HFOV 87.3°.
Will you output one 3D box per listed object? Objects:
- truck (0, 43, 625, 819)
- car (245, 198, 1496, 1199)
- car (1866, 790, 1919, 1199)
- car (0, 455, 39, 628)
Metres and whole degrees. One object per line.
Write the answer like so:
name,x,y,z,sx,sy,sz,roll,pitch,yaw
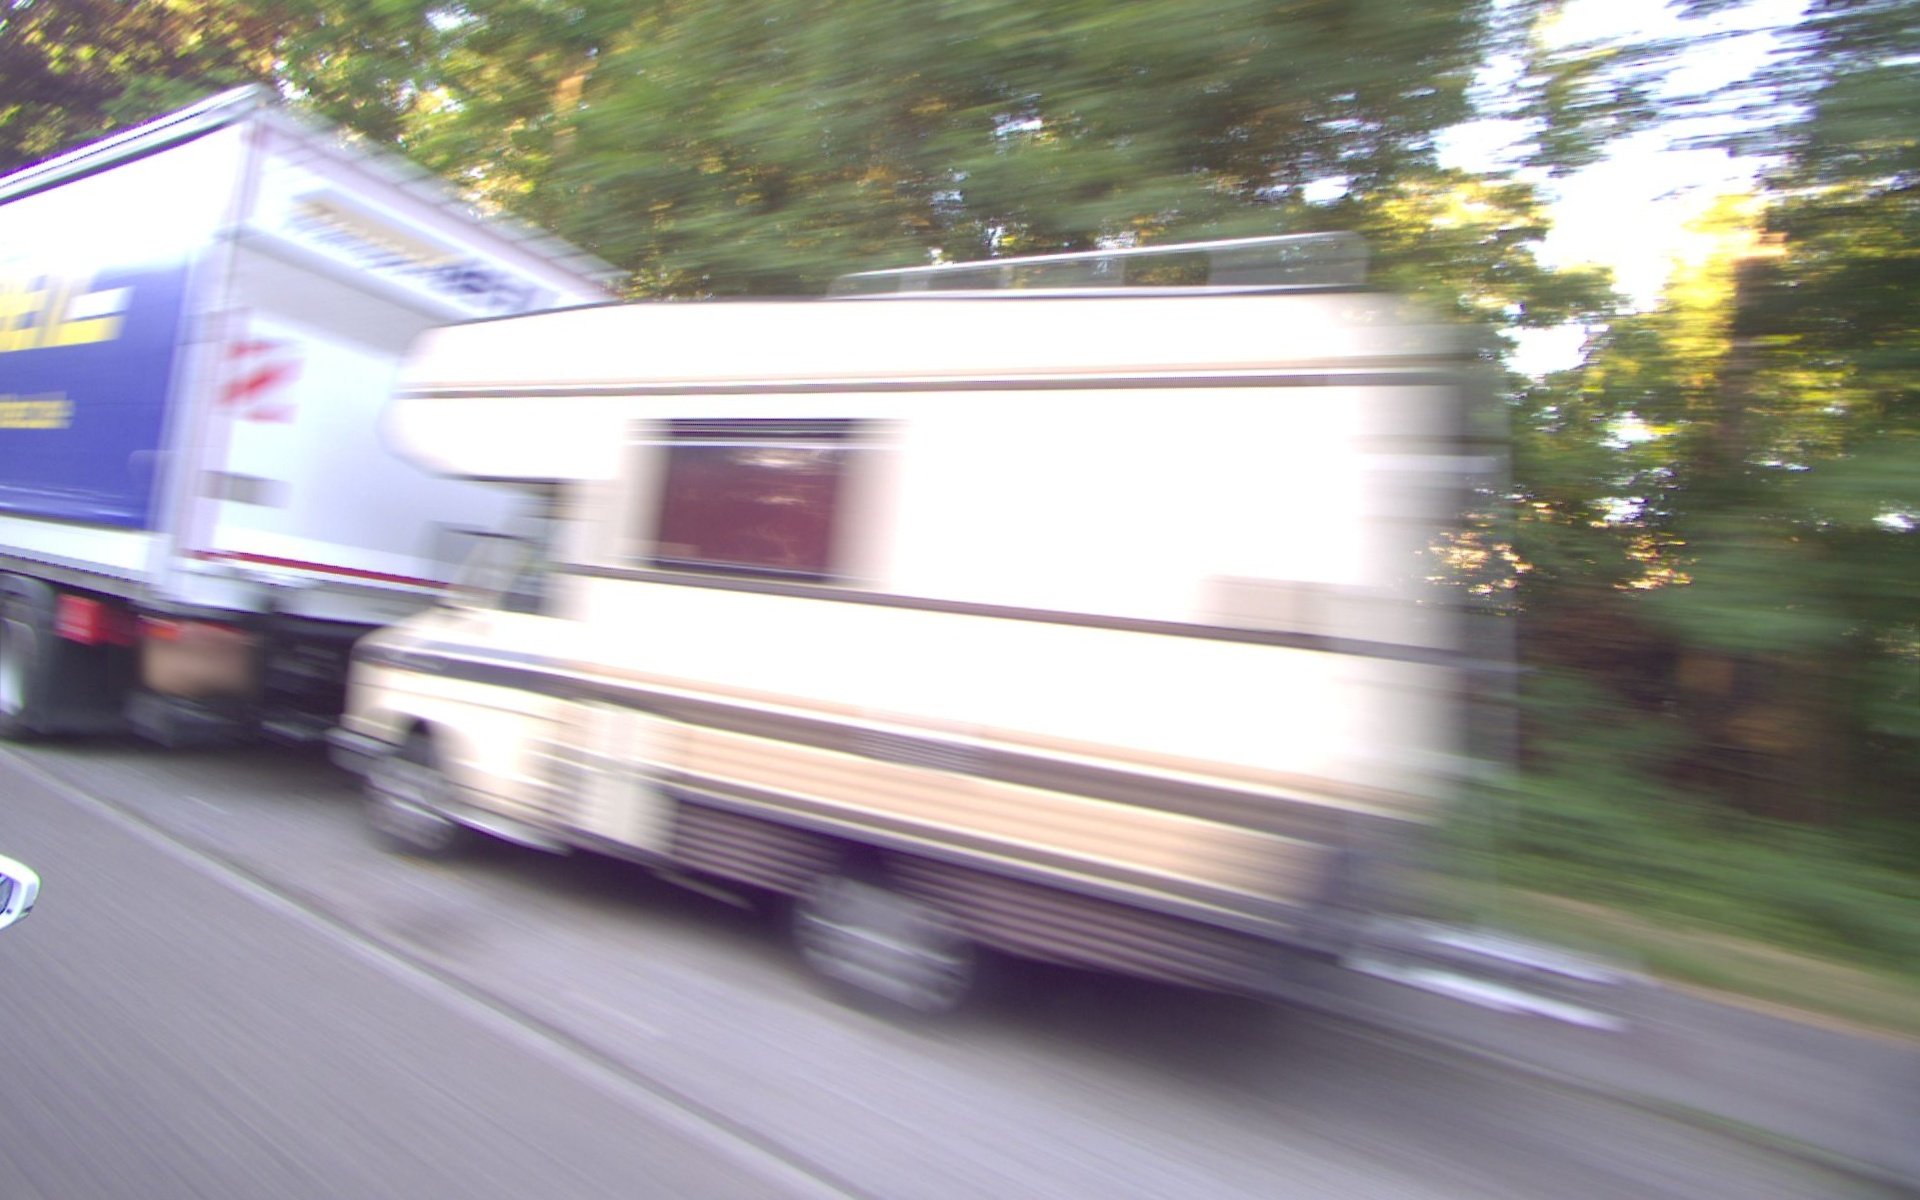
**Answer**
truck,-7.449,-1.218,8.942,9.562,4.075,2.662,7,-1,32
car,-0.672,0.134,5.259,5.830,2.891,2.415,6,-2,28
car,4.644,1.510,1.853,4.006,1.422,1.702,7,-1,29
car,-14.861,-1.081,13.742,4.848,2.213,1.998,7,-3,33
